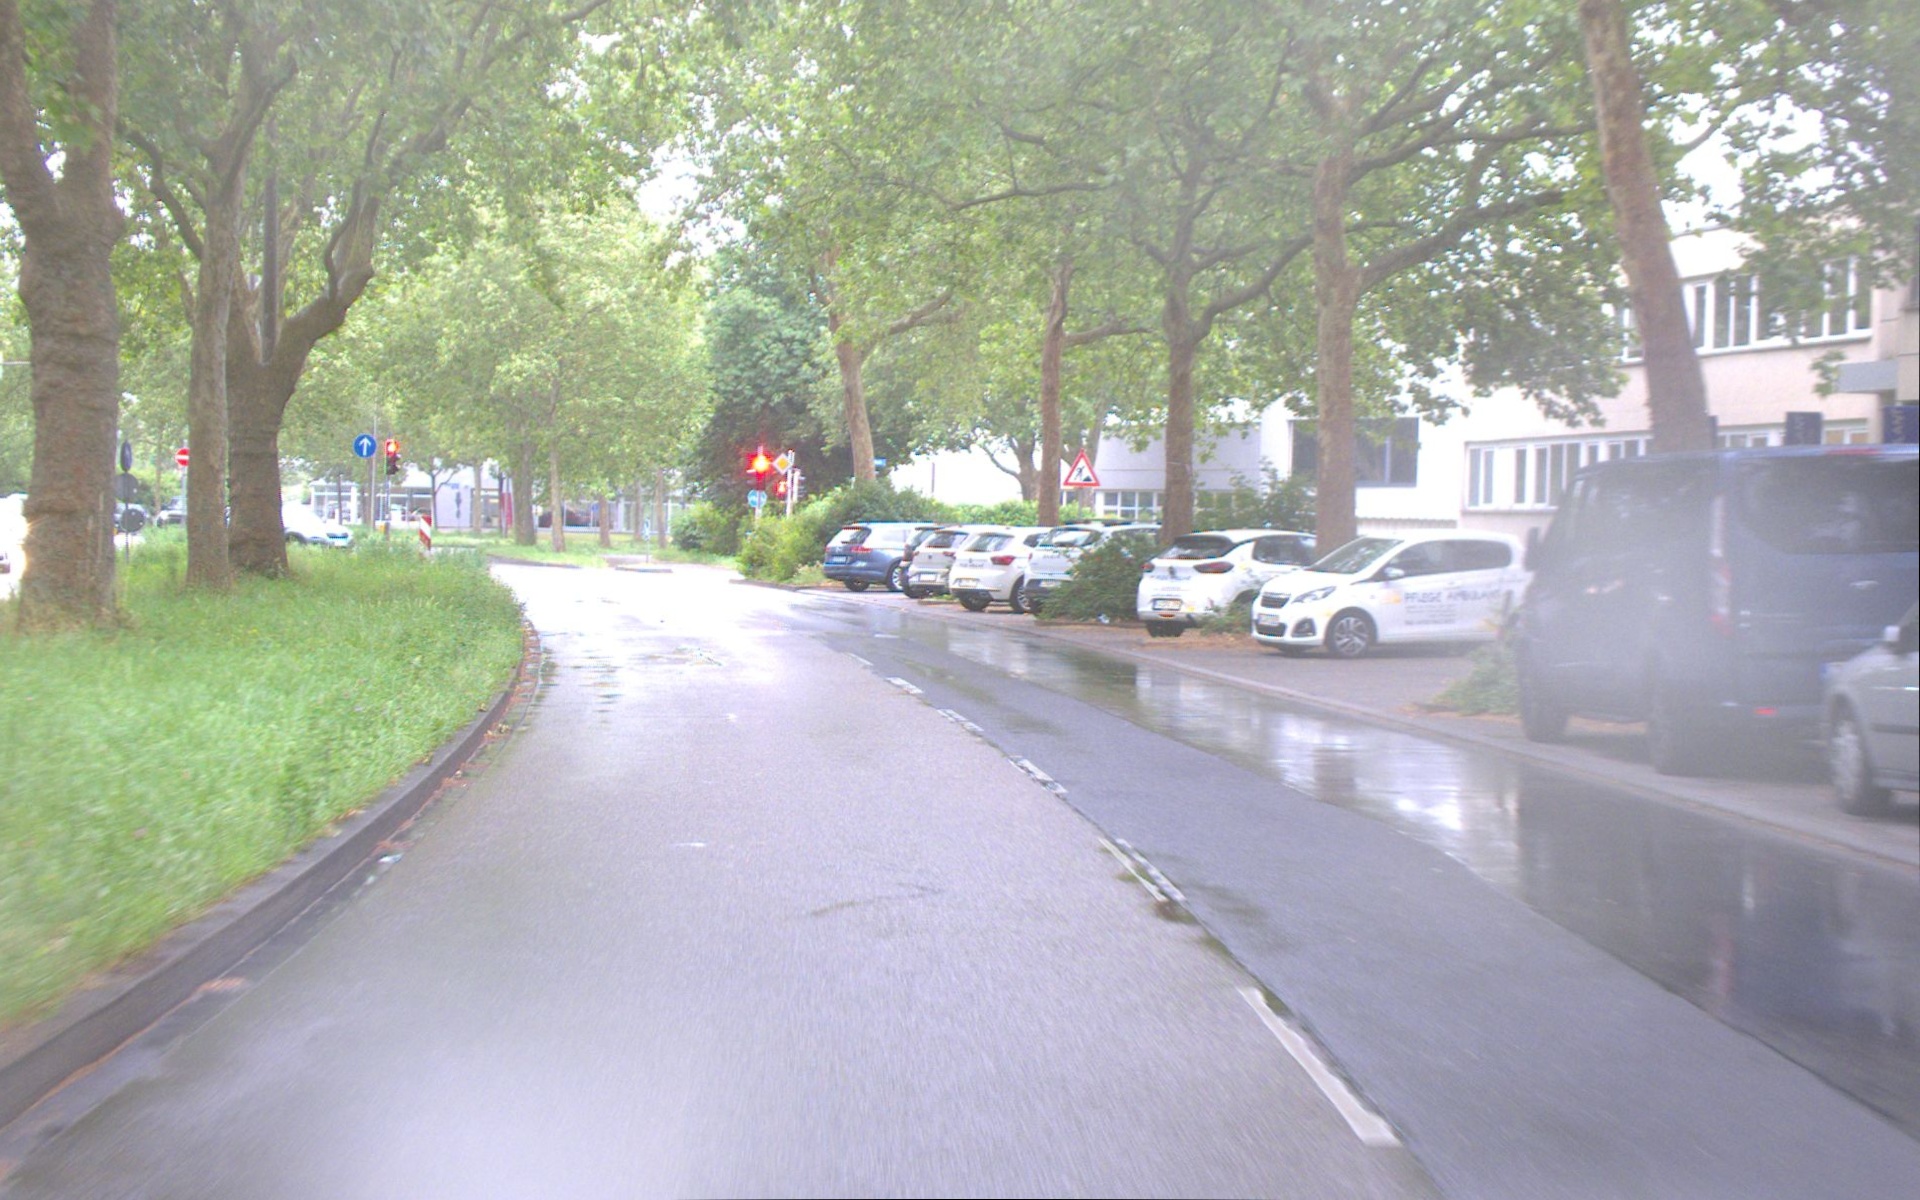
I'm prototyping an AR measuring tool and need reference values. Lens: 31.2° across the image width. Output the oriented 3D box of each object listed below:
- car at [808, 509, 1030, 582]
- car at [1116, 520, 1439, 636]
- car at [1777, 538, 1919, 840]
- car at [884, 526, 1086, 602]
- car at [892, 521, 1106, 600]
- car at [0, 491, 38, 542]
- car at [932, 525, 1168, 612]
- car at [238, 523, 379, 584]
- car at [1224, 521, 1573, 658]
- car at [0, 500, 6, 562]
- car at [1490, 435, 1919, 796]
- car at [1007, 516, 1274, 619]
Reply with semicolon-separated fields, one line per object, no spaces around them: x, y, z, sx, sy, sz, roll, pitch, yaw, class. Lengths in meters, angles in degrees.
-0.860;-1.151;73.328;4.482;1.454;1.749;1;1;-34;car
4.140;-0.274;44.532;4.026;1.423;1.749;0;1;-38;car
5.533;0.446;16.976;1.743;1.464;4.307;1;1;-3;car
0.508;-0.700;67.714;3.681;1.411;1.749;0;1;-38;car
0.746;-0.737;64.436;3.681;1.411;1.775;0;1;-38;car
-30.415;-2.674;109.613;1.743;1.586;4.332;1;1;-12;car
1.556;-0.533;58.946;3.681;1.411;1.749;1;1;-34;car
-18.698;-1.330;98.580;4.303;1.644;1.744;2;1;43;car
5.131;-0.134;40.311;3.634;1.499;1.750;0;2;-22;car
-24.146;-1.697;83.703;1.743;1.471;4.412;1;1;-16;car
5.080;0.044;22.299;2.121;2.021;5.528;1;1;-3;car
2.849;-0.499;53.872;4.026;1.534;1.748;0;1;-40;car
